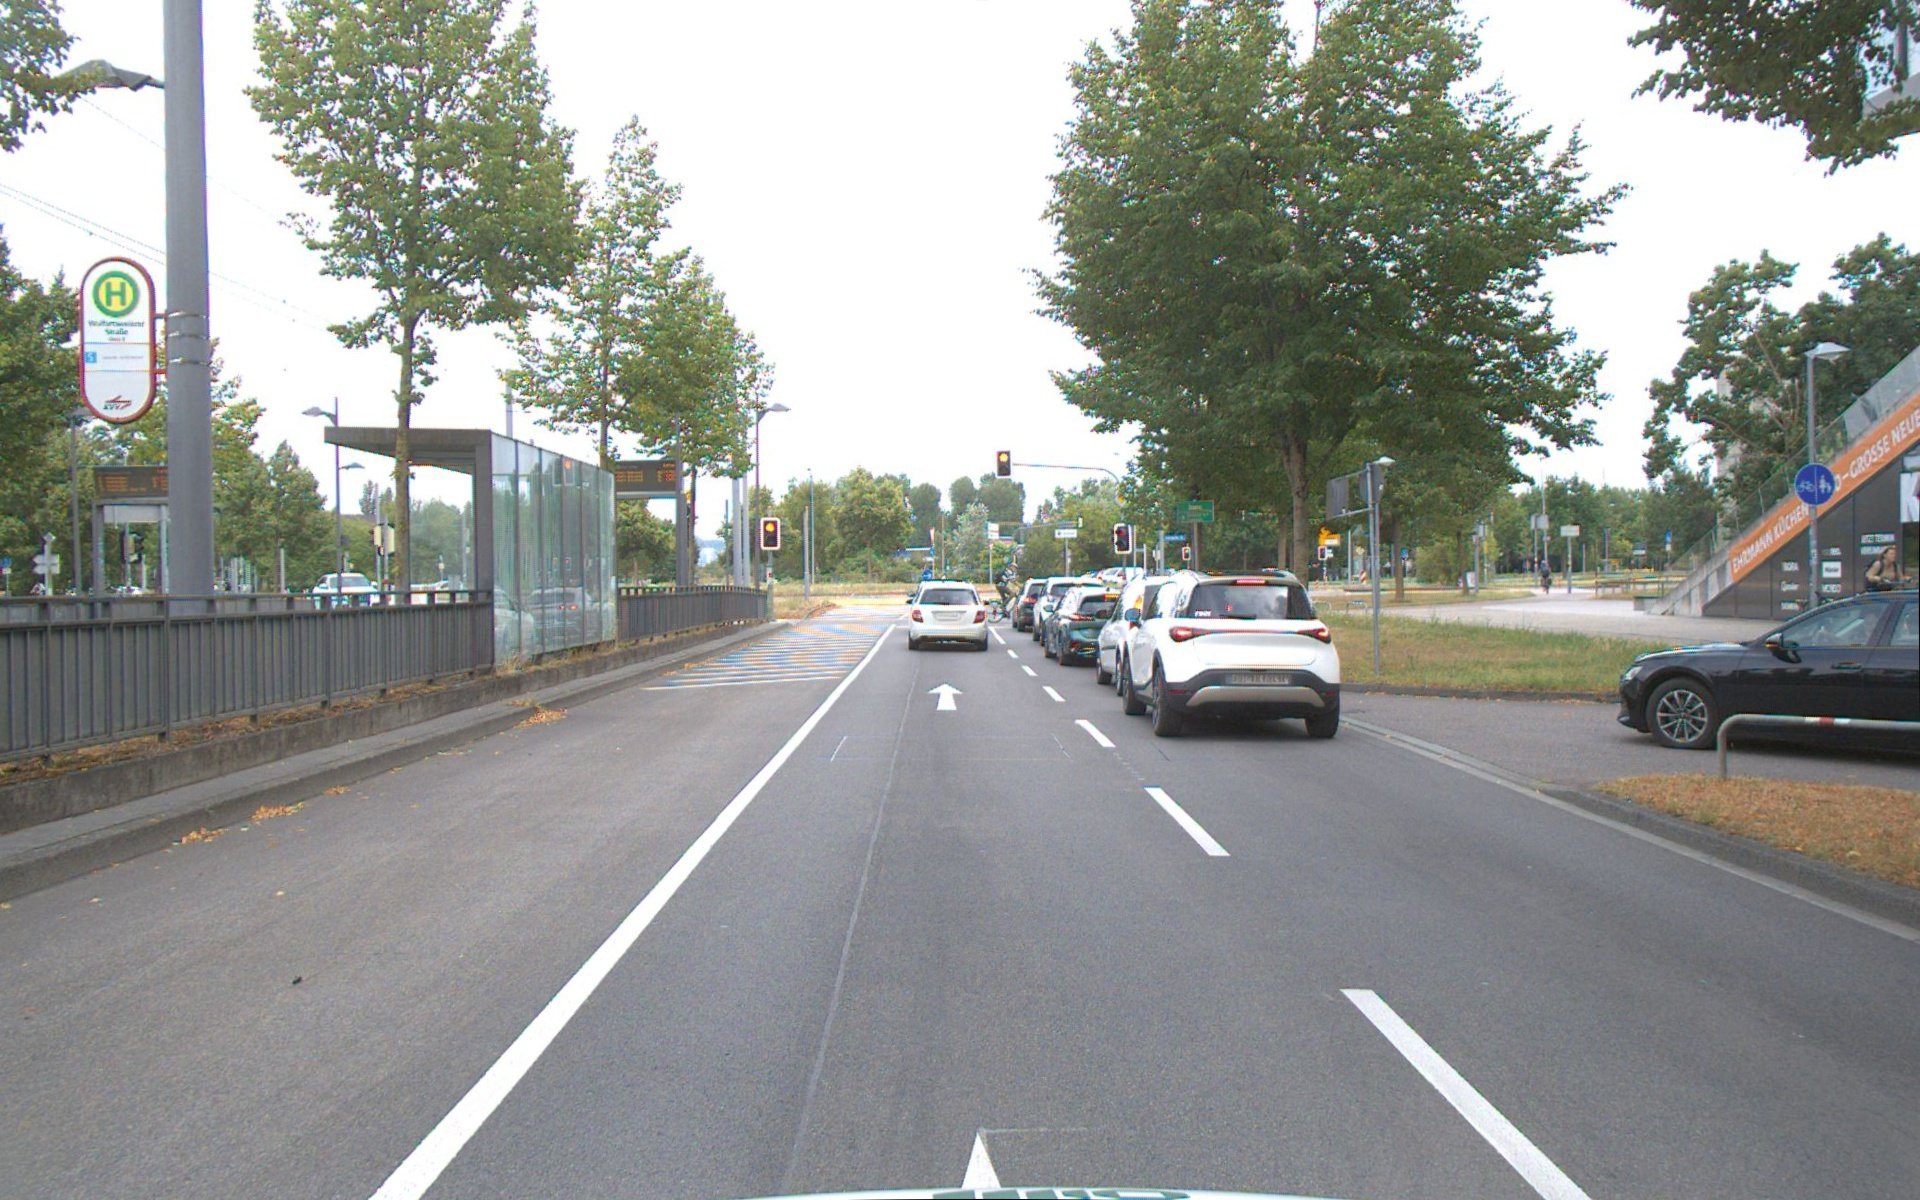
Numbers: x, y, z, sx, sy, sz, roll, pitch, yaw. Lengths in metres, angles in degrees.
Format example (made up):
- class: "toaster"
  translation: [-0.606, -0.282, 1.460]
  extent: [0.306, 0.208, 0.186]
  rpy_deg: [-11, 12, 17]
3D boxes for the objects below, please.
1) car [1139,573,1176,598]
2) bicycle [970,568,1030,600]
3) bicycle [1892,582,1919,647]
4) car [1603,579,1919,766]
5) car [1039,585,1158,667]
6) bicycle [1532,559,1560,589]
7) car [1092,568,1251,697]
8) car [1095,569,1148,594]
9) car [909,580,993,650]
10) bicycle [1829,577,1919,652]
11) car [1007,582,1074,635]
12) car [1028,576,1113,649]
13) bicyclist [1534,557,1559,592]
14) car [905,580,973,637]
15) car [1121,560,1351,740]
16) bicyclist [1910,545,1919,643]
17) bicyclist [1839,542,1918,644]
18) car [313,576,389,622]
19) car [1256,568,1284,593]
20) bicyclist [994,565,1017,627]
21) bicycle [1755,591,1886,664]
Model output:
- class: "car"
  translation: [14.538, -1.059, 121.705]
  extent: [1.954, 1.822, 3.997]
  rpy_deg: [1, 0, -4]
- class: "bicycle"
  translation: [1.288, -0.509, 53.021]
  extent: [1.895, 1.001, 0.564]
  rpy_deg: [-1, 1, -2]
- class: "bicycle"
  translation: [16.236, 0.246, 27.216]
  extent: [0.659, 1.060, 2.007]
  rpy_deg: [-1, 1, -1]
- class: "car"
  translation: [8.287, 0.578, 14.353]
  extent: [1.925, 1.501, 4.810]
  rpy_deg: [-1, 1, -35]
- class: "car"
  translation: [2.618, 0.448, 32.118]
  extent: [1.751, 1.457, 4.309]
  rpy_deg: [0, 1, -3]
- class: "bicycle"
  translation: [30.305, -1.344, 85.536]
  extent: [0.690, 1.532, 2.007]
  rpy_deg: [1, 0, -1]
- class: "car"
  translation: [2.972, 0.412, 23.965]
  extent: [1.742, 1.685, 4.023]
  rpy_deg: [-1, 1, -1]
- class: "car"
  translation: [13.750, -1.600, 140.483]
  extent: [1.964, 2.049, 4.970]
  rpy_deg: [0, 1, 42]
- class: "car"
  translation: [-0.243, 0.302, 36.980]
  extent: [1.738, 1.474, 3.909]
  rpy_deg: [1, 1, -2]
- class: "bicycle"
  translation: [14.988, 0.214, 26.854]
  extent: [0.659, 1.163, 2.007]
  rpy_deg: [-1, 1, -1]
- class: "car"
  translation: [2.305, 0.220, 48.049]
  extent: [1.592, 1.474, 3.909]
  rpy_deg: [1, 1, -2]
- class: "car"
  translation: [2.635, 0.260, 40.203]
  extent: [1.751, 1.653, 3.910]
  rpy_deg: [-1, 1, 0]
- class: "bicyclist"
  translation: [30.276, -1.314, 85.356]
  extent: [0.849, 1.820, 1.174]
  rpy_deg: [-1, 1, -2]
- class: "car"
  translation: [-0.621, 0.209, 45.215]
  extent: [1.738, 1.474, 3.909]
  rpy_deg: [1, 1, -2]
- class: "car"
  translation: [2.817, 0.449, 17.725]
  extent: [1.742, 1.685, 4.023]
  rpy_deg: [1, 1, -1]
- class: "bicyclist"
  translation: [16.203, -0.104, 27.087]
  extent: [0.710, 1.610, 0.989]
  rpy_deg: [-1, 1, -1]
- class: "bicyclist"
  translation: [14.980, -0.114, 26.997]
  extent: [0.710, 1.610, 0.989]
  rpy_deg: [-2, 0, -1]
- class: "car"
  translation: [-22.931, -0.048, 62.185]
  extent: [1.973, 1.646, 4.340]
  rpy_deg: [-1, 1, -30]
- class: "car"
  translation: [21.744, -1.375, 116.092]
  extent: [1.745, 1.664, 4.406]
  rpy_deg: [-1, 1, 9]
- class: "bicyclist"
  translation: [1.459, -0.129, 53.145]
  extent: [0.714, 1.917, 0.734]
  rpy_deg: [-1, 4, -2]
- class: "bicycle"
  translation: [12.230, 0.370, 23.591]
  extent: [0.617, 0.972, 2.105]
  rpy_deg: [-1, 1, -5]
